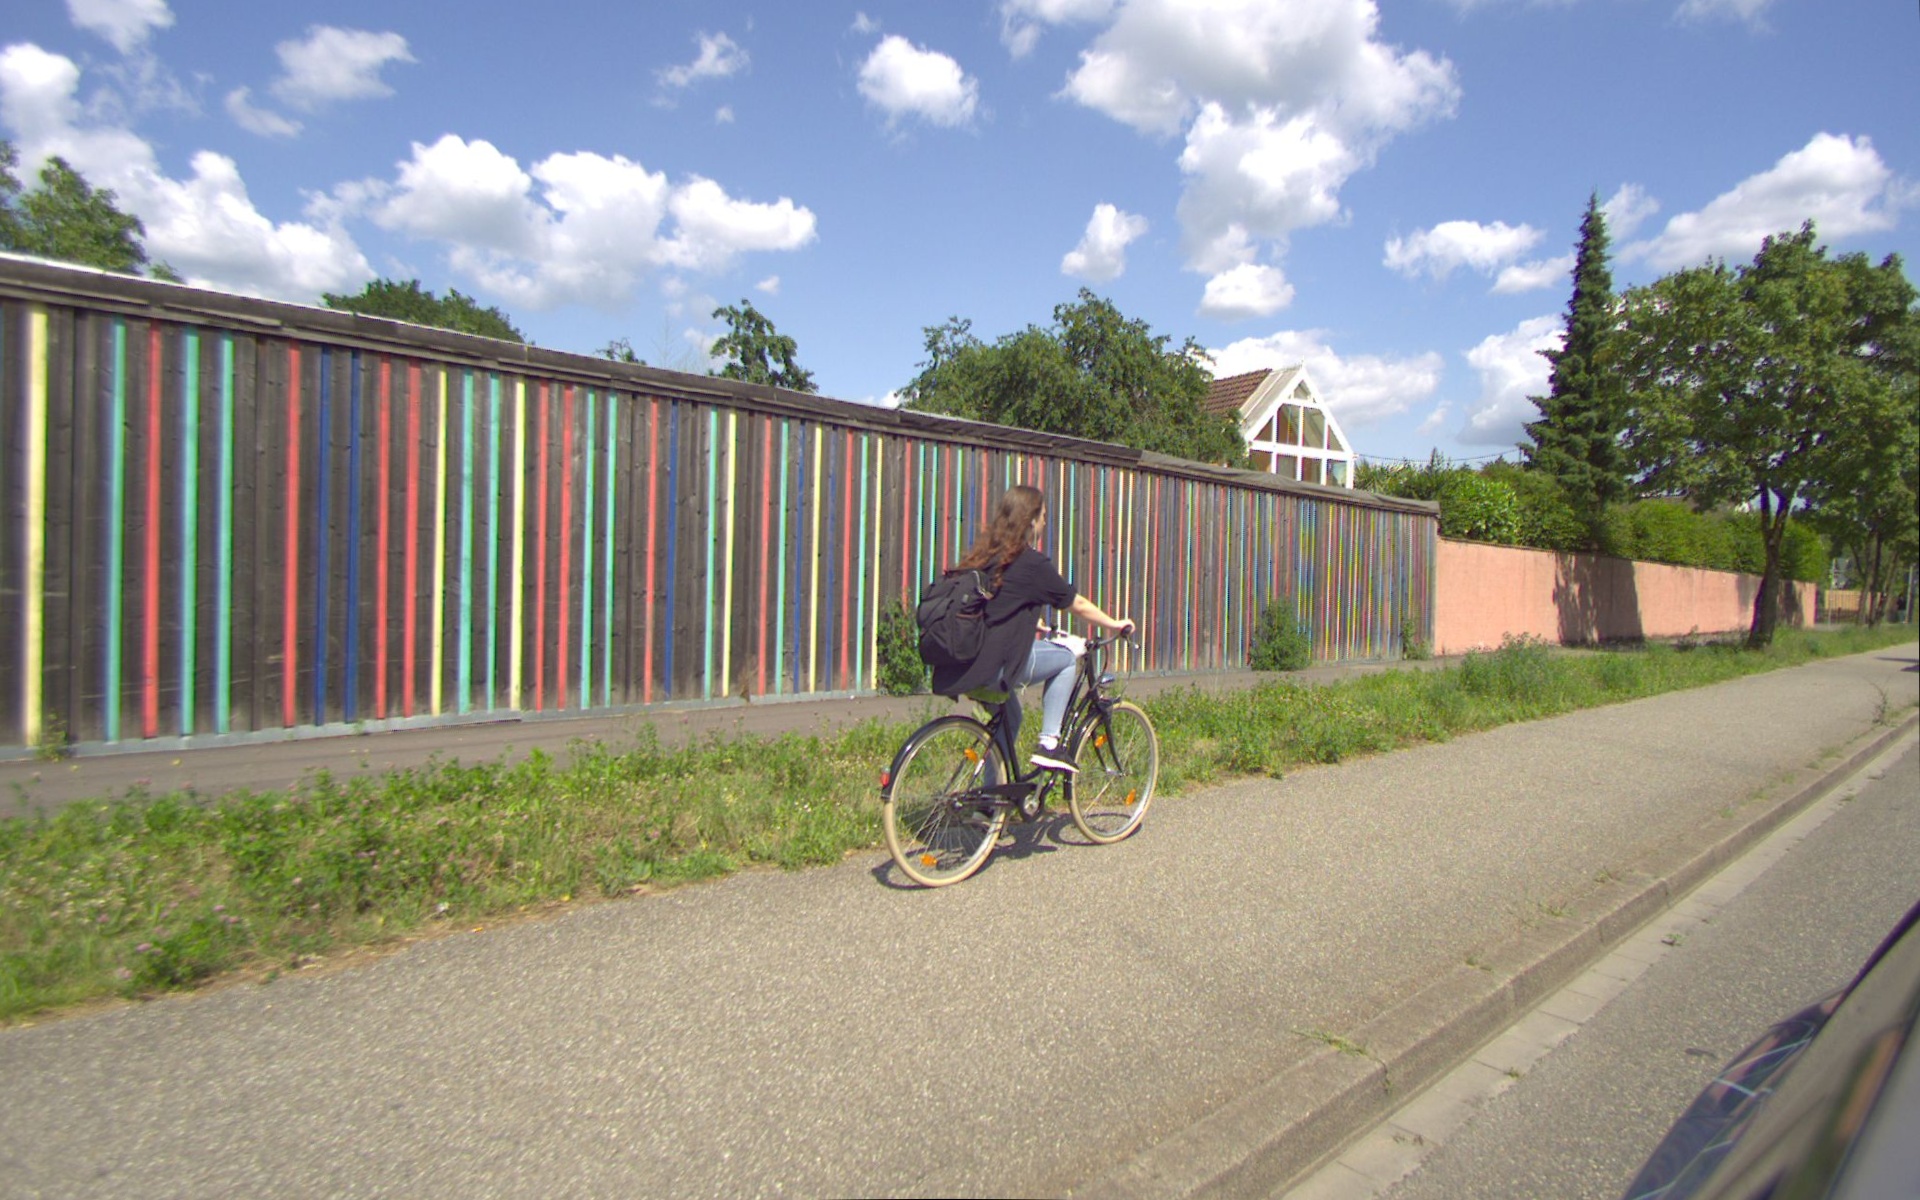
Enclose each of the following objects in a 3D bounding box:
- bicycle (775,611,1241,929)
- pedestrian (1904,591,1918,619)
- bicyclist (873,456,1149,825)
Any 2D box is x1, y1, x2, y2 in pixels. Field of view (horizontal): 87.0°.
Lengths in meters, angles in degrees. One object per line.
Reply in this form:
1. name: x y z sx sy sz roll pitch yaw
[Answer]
1. bicycle: 0.323 0.620 4.593 2.238 1.080 0.647 0 4 -41
2. pedestrian: 59.264 0.321 63.065 0.623 1.698 0.561 1 1 -41
3. bicyclist: 0.230 0.139 4.472 0.969 1.429 0.656 0 3 -40
